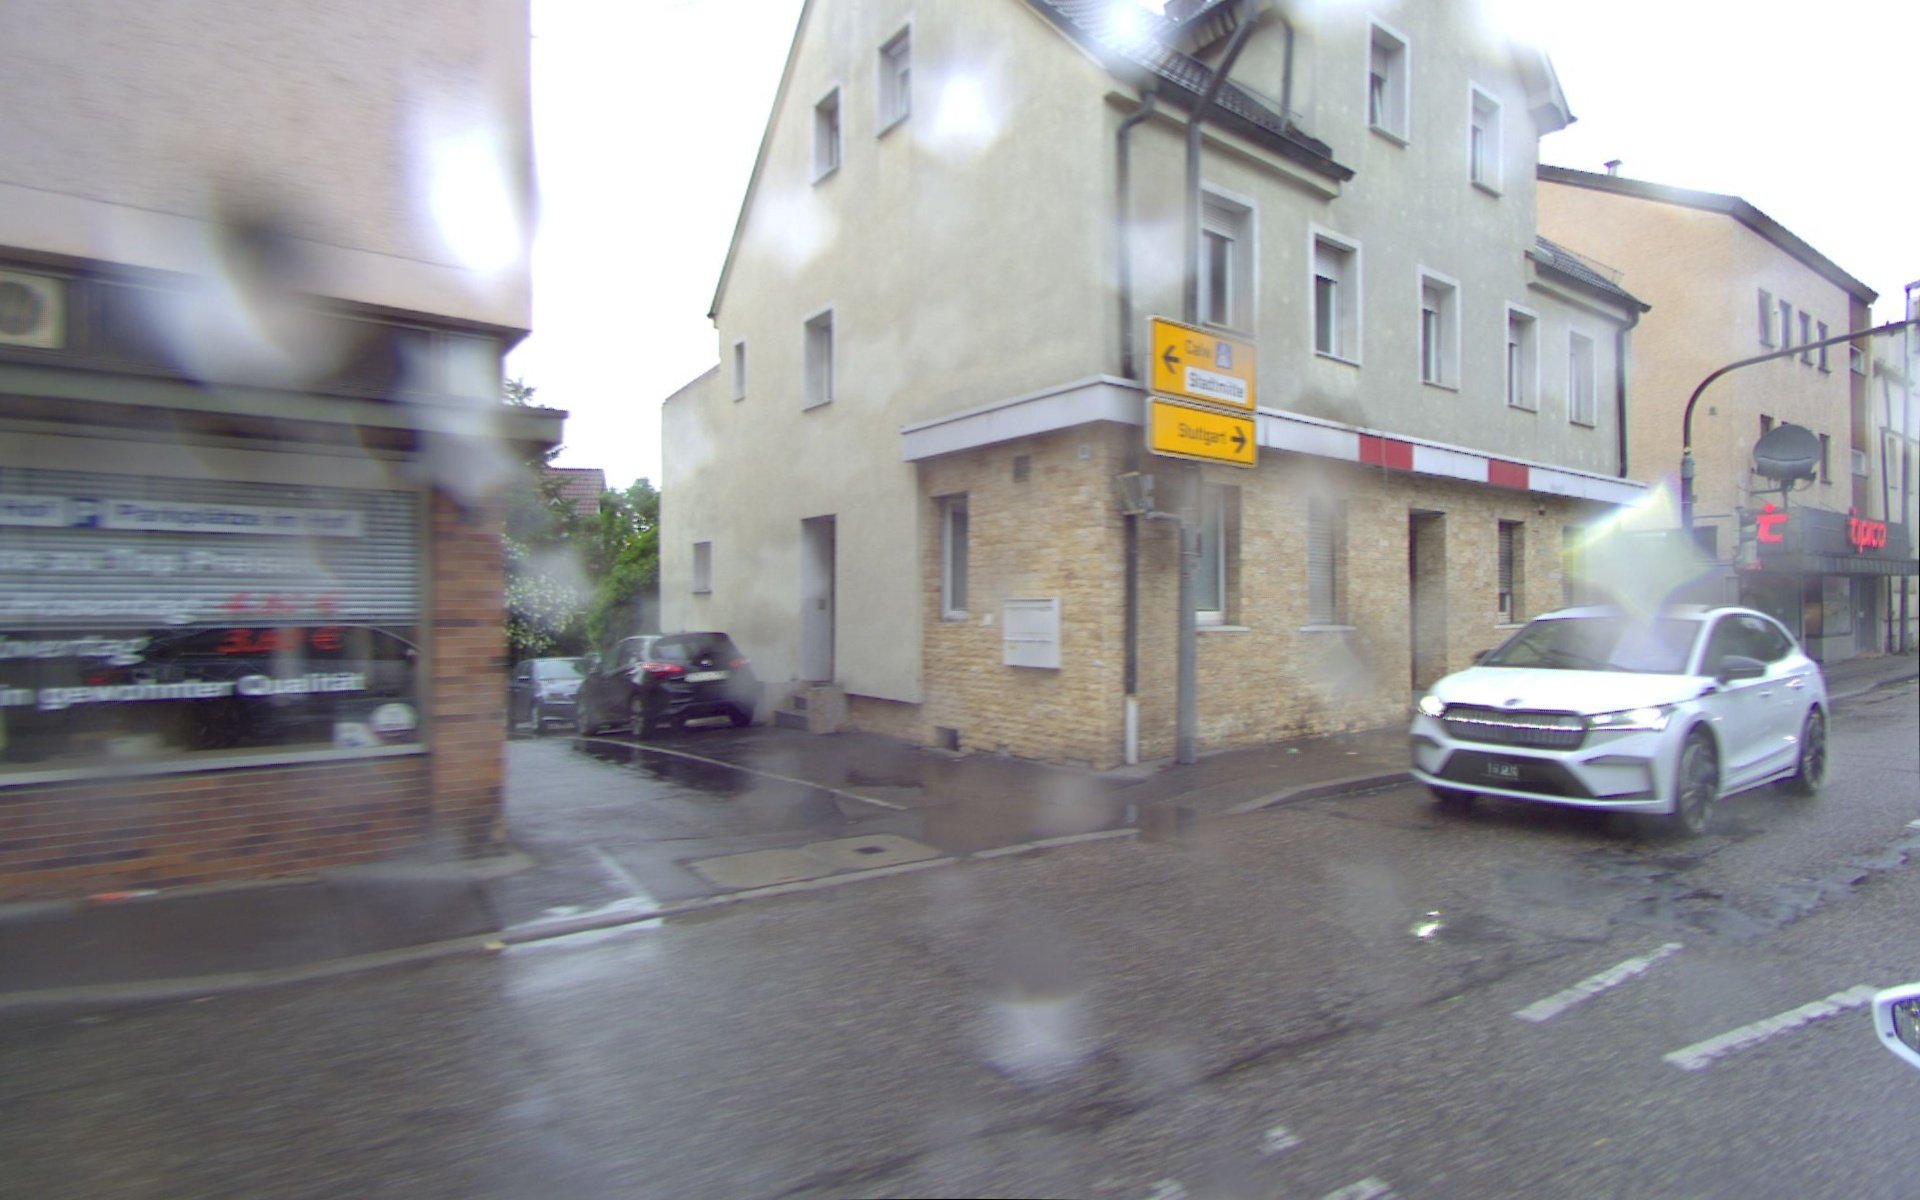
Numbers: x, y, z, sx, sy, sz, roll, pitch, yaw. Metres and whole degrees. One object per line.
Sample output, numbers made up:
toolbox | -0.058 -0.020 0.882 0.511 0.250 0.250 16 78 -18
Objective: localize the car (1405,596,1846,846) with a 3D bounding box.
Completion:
car | 5.698 0.778 8.403 4.296 1.581 1.772 0 -1 -37

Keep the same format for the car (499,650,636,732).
car | -7.988 1.822 20.251 1.581 1.409 3.827 -1 -4 -37

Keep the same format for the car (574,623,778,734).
car | -4.594 1.236 15.861 1.787 1.468 3.960 -1 -4 -37
